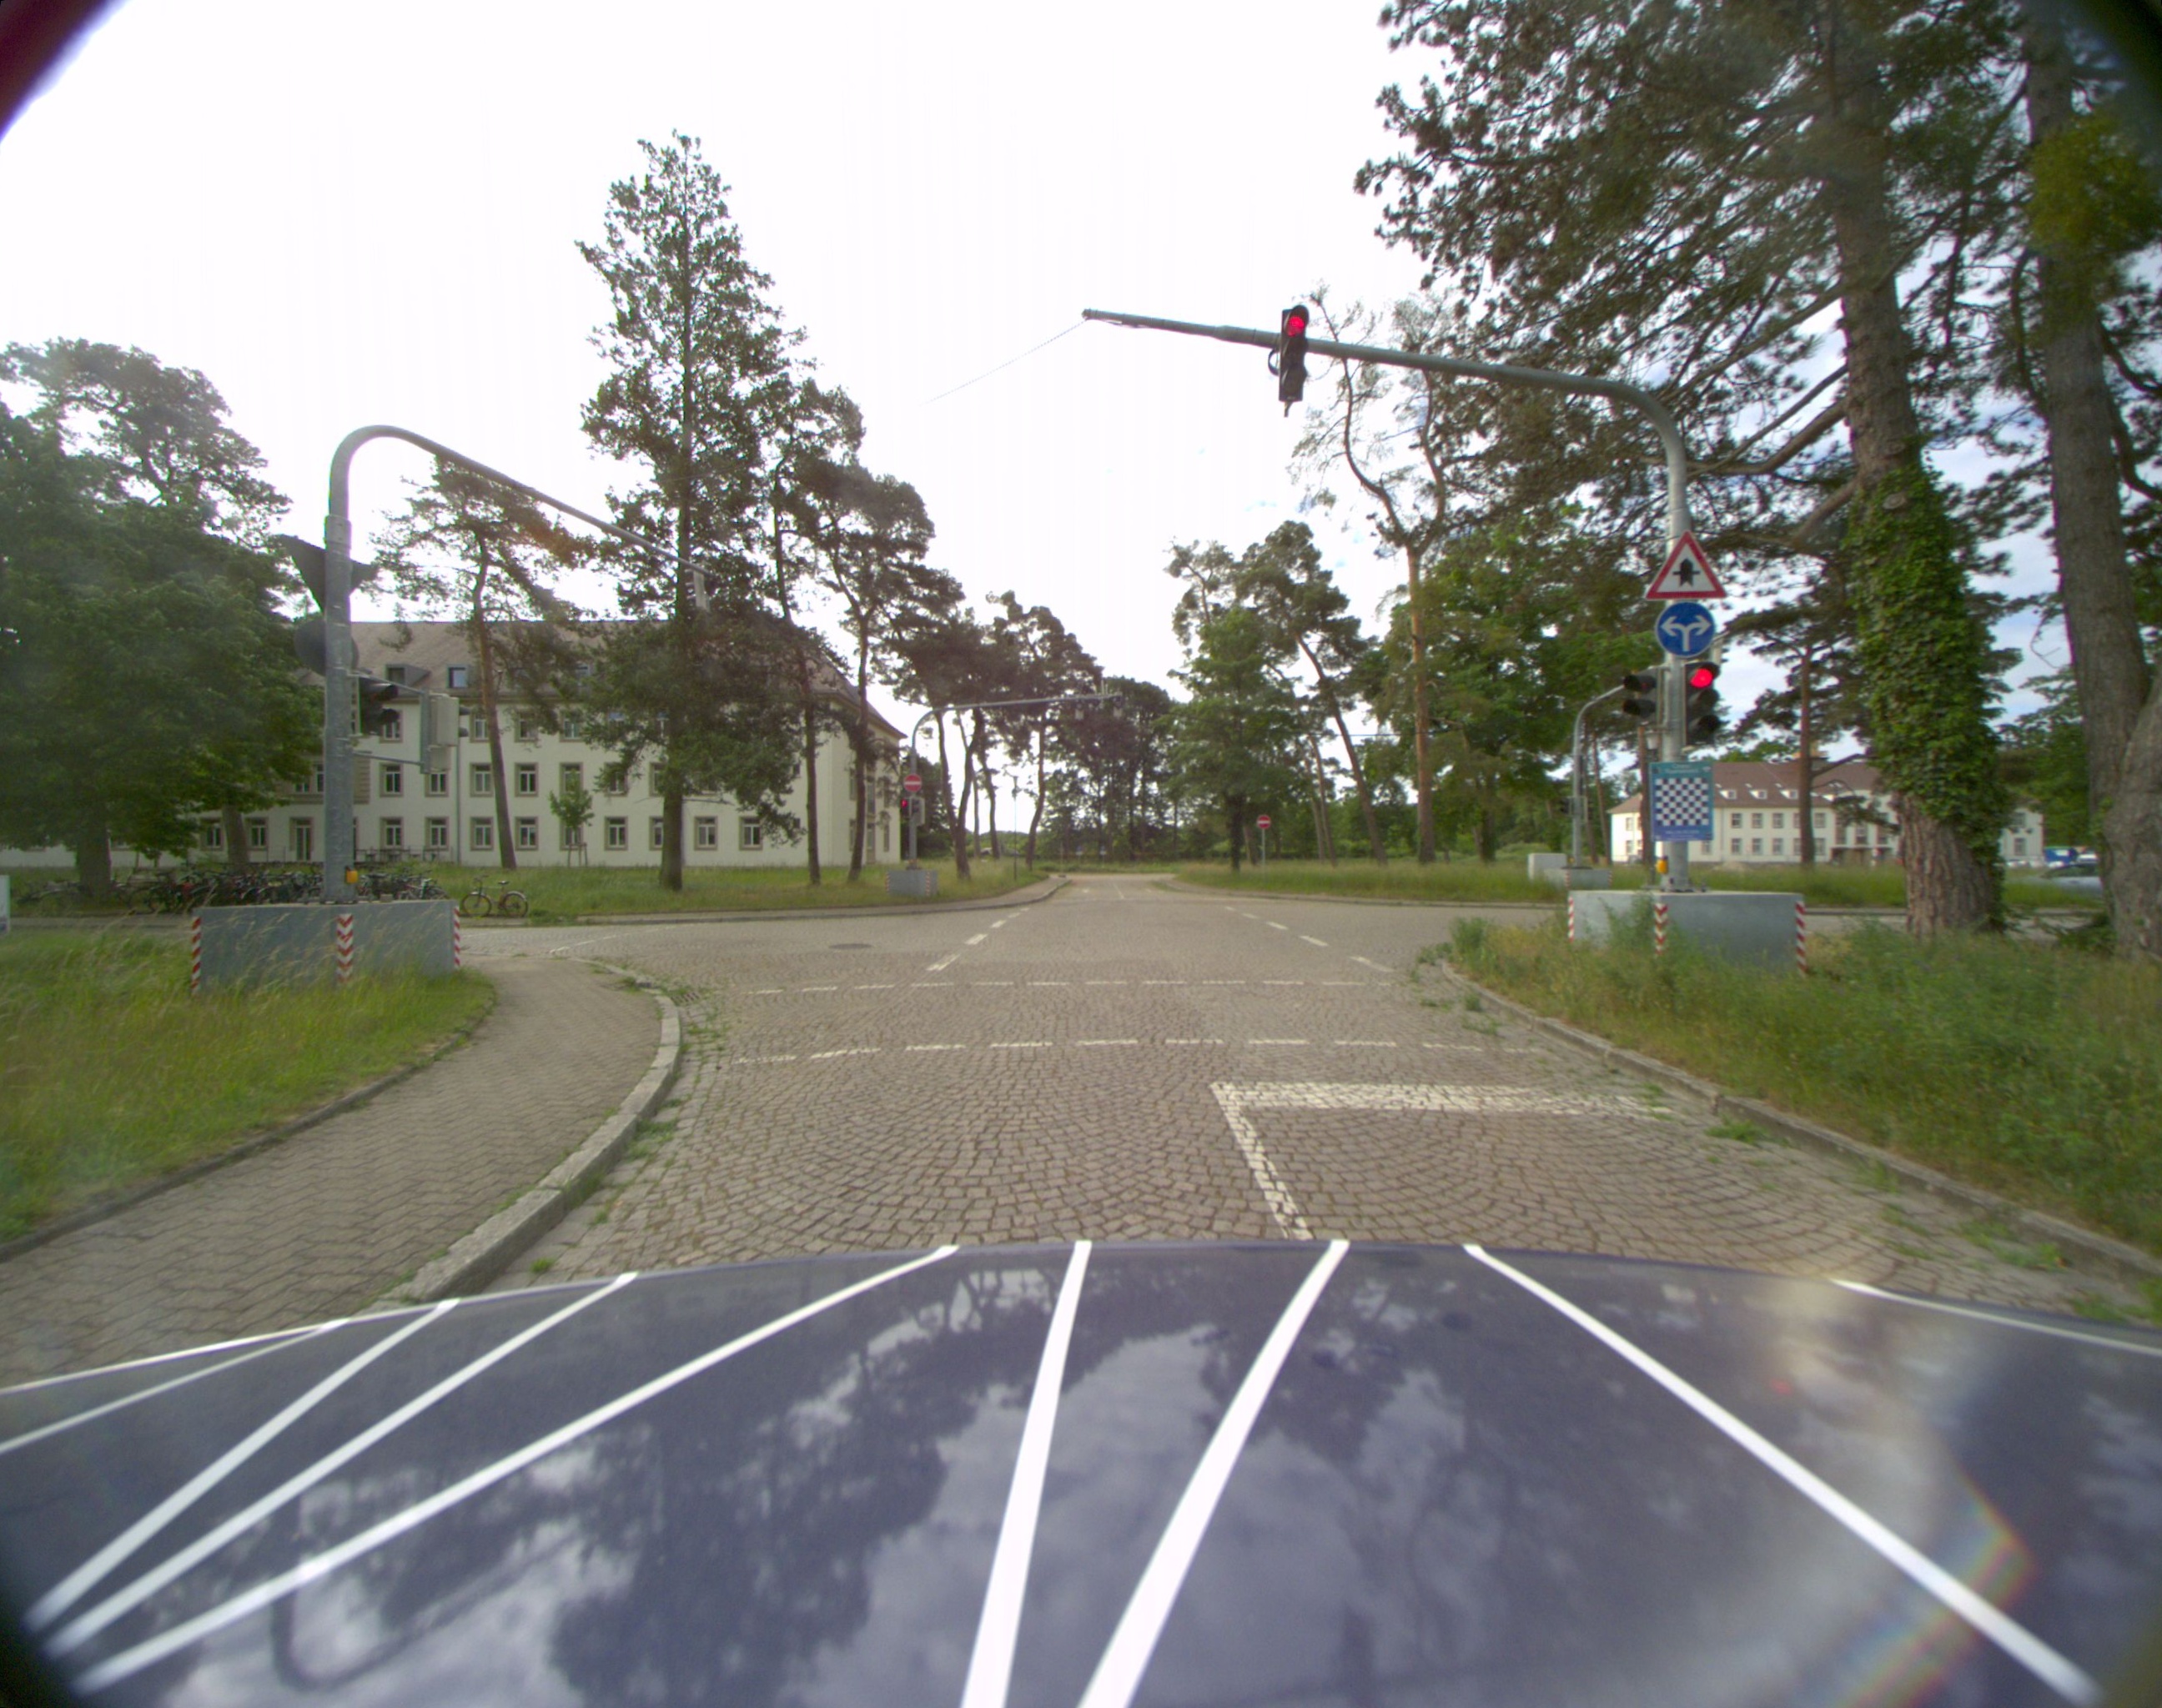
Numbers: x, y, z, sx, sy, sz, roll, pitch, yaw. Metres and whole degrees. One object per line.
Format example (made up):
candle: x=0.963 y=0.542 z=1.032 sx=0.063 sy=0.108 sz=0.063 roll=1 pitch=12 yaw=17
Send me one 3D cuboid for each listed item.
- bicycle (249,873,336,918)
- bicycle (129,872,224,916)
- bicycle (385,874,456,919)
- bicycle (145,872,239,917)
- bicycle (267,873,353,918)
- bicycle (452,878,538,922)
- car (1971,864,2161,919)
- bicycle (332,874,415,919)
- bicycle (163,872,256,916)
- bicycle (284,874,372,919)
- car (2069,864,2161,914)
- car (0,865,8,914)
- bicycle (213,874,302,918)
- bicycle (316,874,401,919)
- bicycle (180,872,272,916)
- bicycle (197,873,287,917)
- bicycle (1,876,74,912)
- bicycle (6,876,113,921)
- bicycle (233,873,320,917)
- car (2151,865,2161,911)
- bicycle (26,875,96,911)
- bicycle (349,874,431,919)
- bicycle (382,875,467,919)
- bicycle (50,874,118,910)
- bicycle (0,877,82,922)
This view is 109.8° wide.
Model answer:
bicycle: x=-21.475 y=1.103 z=20.739 sx=0.448 sy=1.121 sz=1.731 roll=0 pitch=0 yaw=5
bicycle: x=-24.864 y=1.066 z=20.934 sx=0.448 sy=1.121 sz=1.731 roll=0 pitch=0 yaw=5
bicycle: x=-18.027 y=1.142 z=20.786 sx=0.476 sy=1.121 sz=1.657 roll=0 pitch=0 yaw=0
bicycle: x=-24.426 y=1.091 z=20.920 sx=0.448 sy=1.121 sz=1.731 roll=0 pitch=0 yaw=5
bicycle: x=-20.966 y=1.112 z=20.706 sx=0.448 sy=1.121 sz=1.731 roll=0 pitch=0 yaw=5
bicycle: x=-14.796 y=1.154 z=19.219 sx=1.656 sy=1.079 sz=0.614 roll=0 pitch=0 yaw=-2
car: x=30.757 y=1.059 z=23.243 sx=1.829 sy=1.466 sz=4.402 roll=0 pitch=0 yaw=-1
bicycle: x=-19.149 y=1.122 z=20.602 sx=0.447 sy=1.121 sz=1.703 roll=0 pitch=0 yaw=10
bicycle: x=-23.925 y=1.073 z=20.898 sx=0.448 sy=1.121 sz=1.731 roll=0 pitch=0 yaw=5
bicycle: x=-20.417 y=1.139 z=20.649 sx=0.447 sy=1.121 sz=1.732 roll=0 pitch=0 yaw=10
car: x=33.316 y=1.049 z=22.707 sx=1.829 sy=1.466 sz=4.402 roll=0 pitch=0 yaw=-1
car: x=-32.573 y=1.053 z=21.248 sx=1.344 sy=1.461 sz=2.661 roll=0 pitch=0 yaw=1
bicycle: x=-22.496 y=1.117 z=20.799 sx=0.448 sy=1.121 sz=1.731 roll=0 pitch=0 yaw=5
bicycle: x=-19.624 y=1.137 z=20.679 sx=0.447 sy=1.121 sz=1.732 roll=0 pitch=0 yaw=10
bicycle: x=-23.462 y=1.084 z=20.892 sx=0.448 sy=1.121 sz=1.731 roll=0 pitch=0 yaw=5
bicycle: x=-22.982 y=1.107 z=20.848 sx=0.448 sy=1.121 sz=1.731 roll=0 pitch=0 yaw=5
bicycle: x=-34.337 y=1.294 z=25.027 sx=0.478 sy=1.121 sz=1.598 roll=0 pitch=0 yaw=-14
bicycle: x=-27.499 y=1.170 z=20.504 sx=0.448 sy=1.121 sz=1.731 roll=0 pitch=0 yaw=5
bicycle: x=-21.957 y=1.098 z=20.780 sx=0.448 sy=1.121 sz=1.731 roll=0 pitch=0 yaw=5
car: x=36.072 y=1.101 z=22.758 sx=1.829 sy=1.466 sz=4.402 roll=0 pitch=0 yaw=-1
bicycle: x=-33.773 y=1.275 z=25.184 sx=0.478 sy=1.121 sz=1.598 roll=0 pitch=0 yaw=-14
bicycle: x=-18.656 y=1.131 z=20.567 sx=0.476 sy=1.121 sz=1.704 roll=0 pitch=0 yaw=10
bicycle: x=-16.499 y=1.069 z=19.114 sx=1.655 sy=1.079 sz=0.615 roll=0 pitch=0 yaw=3
bicycle: x=-33.193 y=1.248 z=25.325 sx=0.478 sy=1.121 sz=1.598 roll=0 pitch=0 yaw=-14
bicycle: x=-28.110 y=1.194 z=20.311 sx=0.448 sy=1.121 sz=1.731 roll=0 pitch=0 yaw=5
